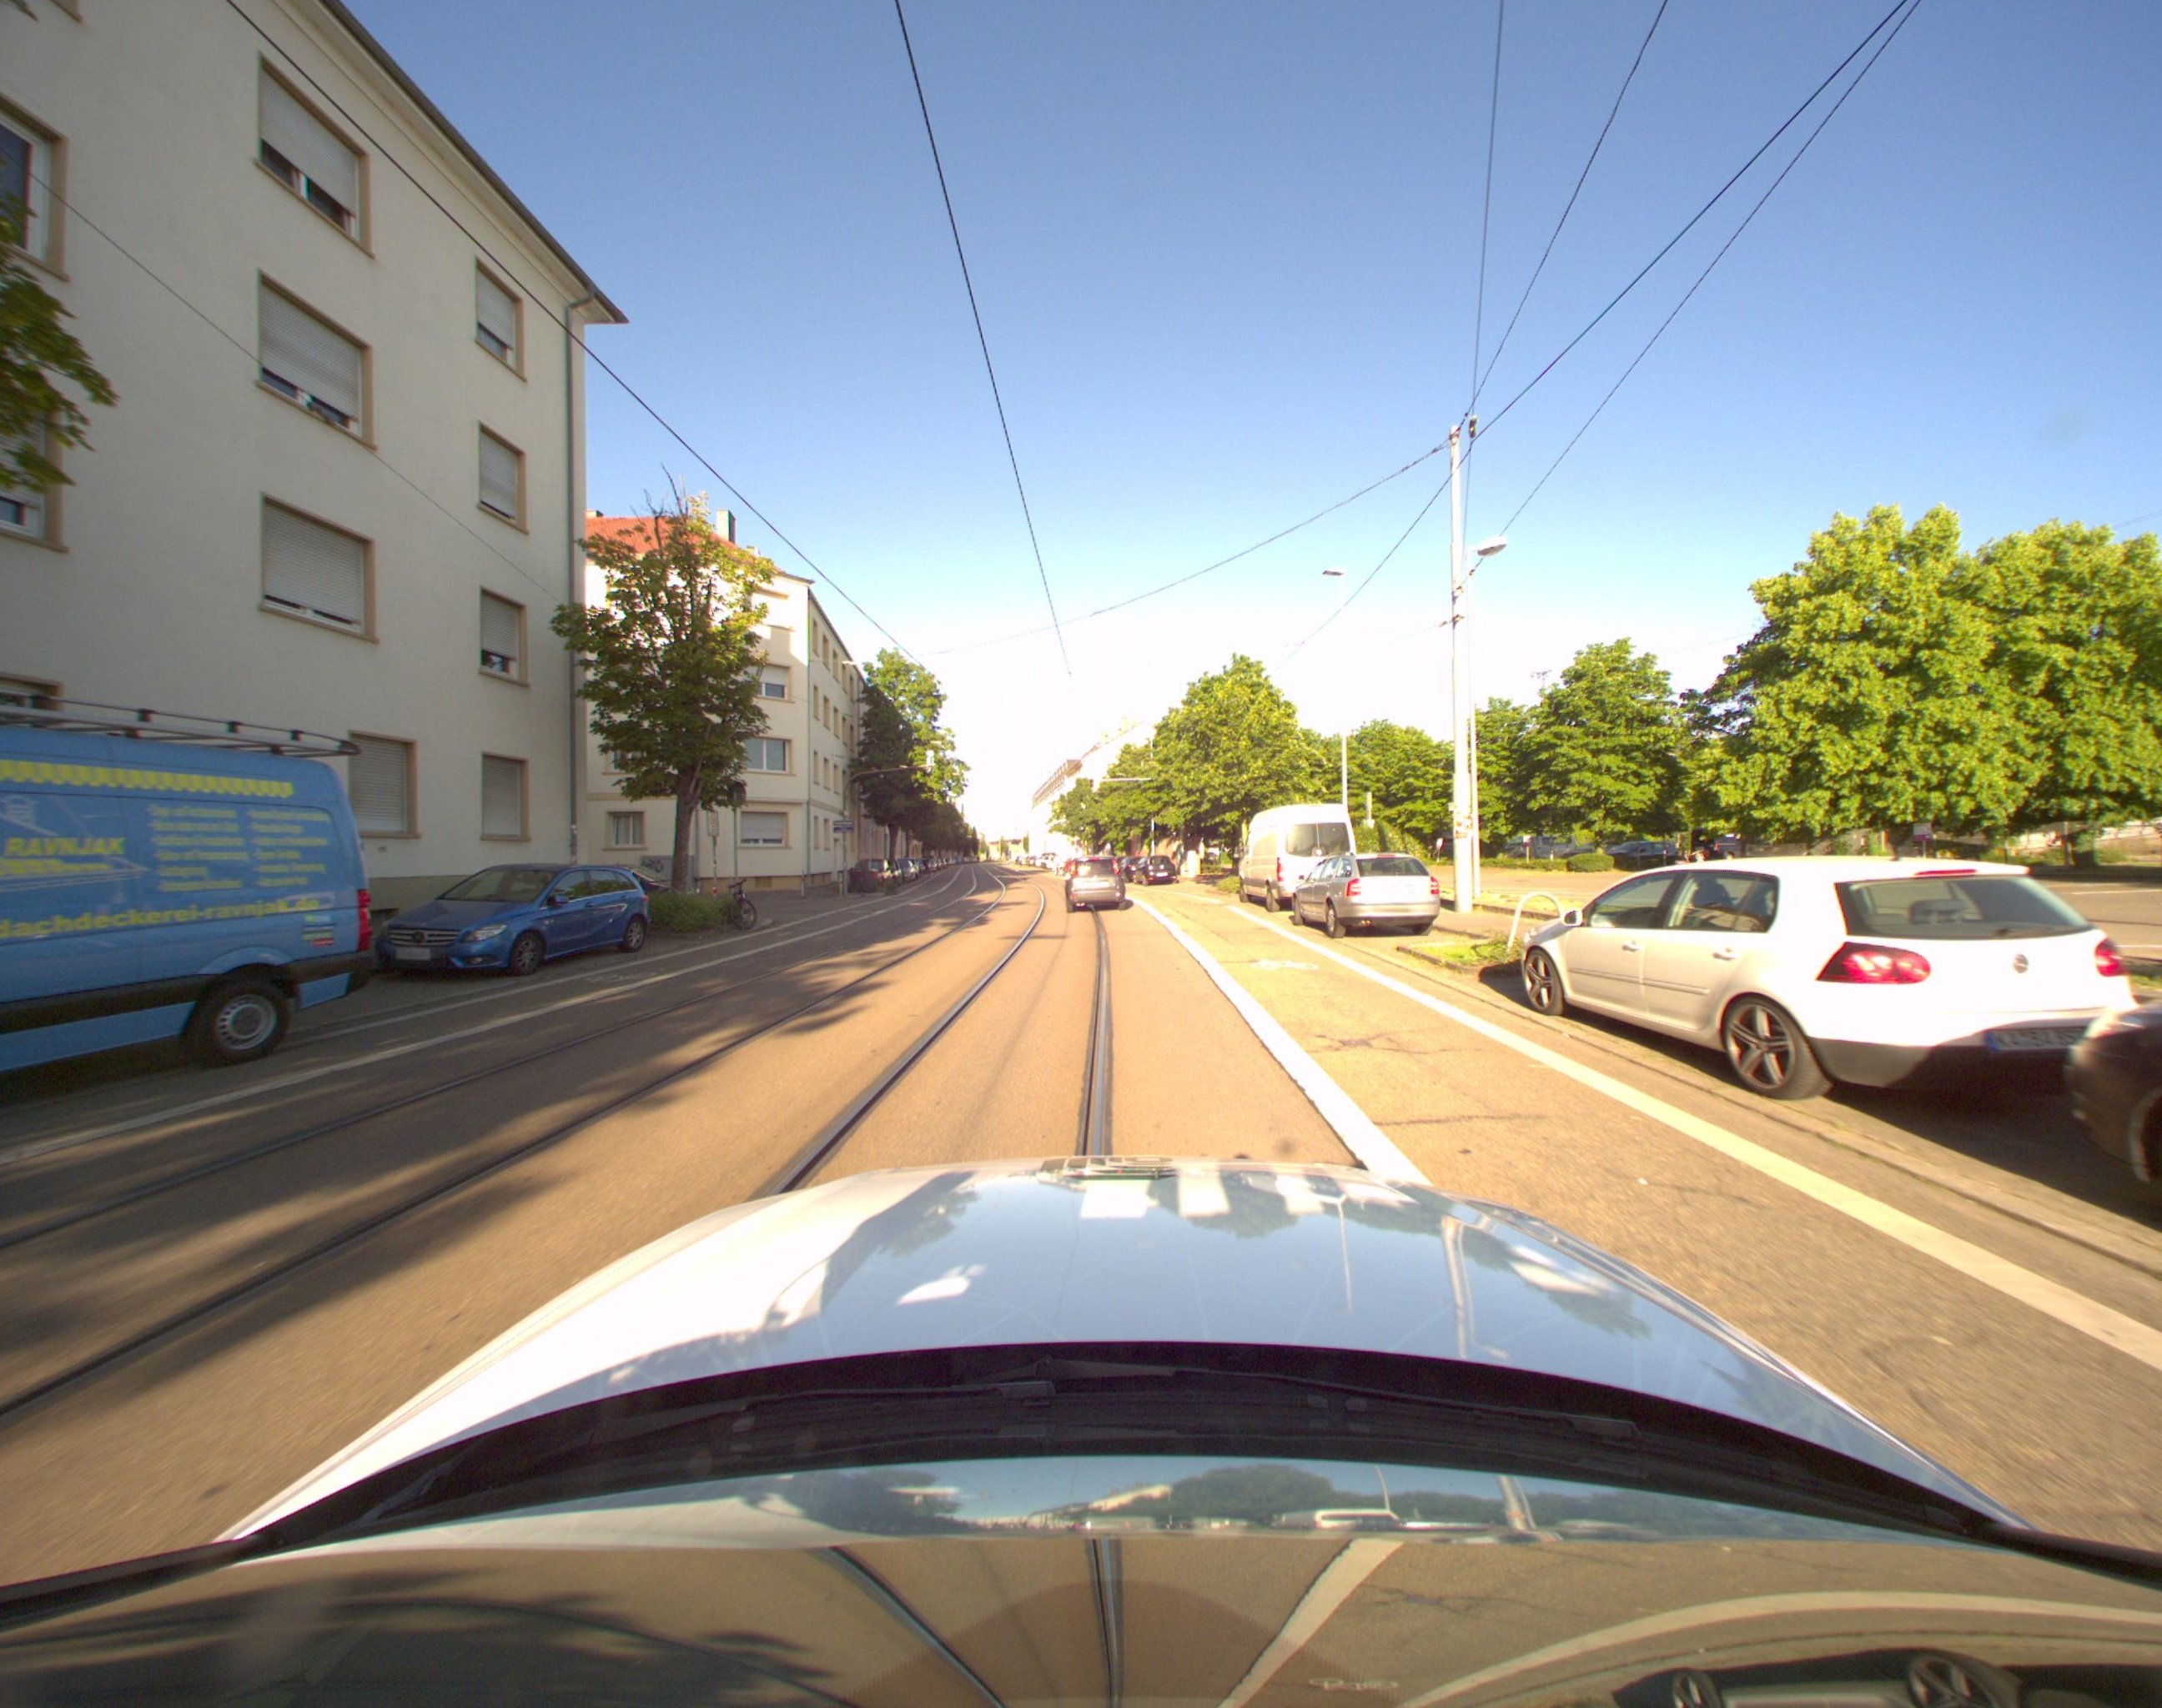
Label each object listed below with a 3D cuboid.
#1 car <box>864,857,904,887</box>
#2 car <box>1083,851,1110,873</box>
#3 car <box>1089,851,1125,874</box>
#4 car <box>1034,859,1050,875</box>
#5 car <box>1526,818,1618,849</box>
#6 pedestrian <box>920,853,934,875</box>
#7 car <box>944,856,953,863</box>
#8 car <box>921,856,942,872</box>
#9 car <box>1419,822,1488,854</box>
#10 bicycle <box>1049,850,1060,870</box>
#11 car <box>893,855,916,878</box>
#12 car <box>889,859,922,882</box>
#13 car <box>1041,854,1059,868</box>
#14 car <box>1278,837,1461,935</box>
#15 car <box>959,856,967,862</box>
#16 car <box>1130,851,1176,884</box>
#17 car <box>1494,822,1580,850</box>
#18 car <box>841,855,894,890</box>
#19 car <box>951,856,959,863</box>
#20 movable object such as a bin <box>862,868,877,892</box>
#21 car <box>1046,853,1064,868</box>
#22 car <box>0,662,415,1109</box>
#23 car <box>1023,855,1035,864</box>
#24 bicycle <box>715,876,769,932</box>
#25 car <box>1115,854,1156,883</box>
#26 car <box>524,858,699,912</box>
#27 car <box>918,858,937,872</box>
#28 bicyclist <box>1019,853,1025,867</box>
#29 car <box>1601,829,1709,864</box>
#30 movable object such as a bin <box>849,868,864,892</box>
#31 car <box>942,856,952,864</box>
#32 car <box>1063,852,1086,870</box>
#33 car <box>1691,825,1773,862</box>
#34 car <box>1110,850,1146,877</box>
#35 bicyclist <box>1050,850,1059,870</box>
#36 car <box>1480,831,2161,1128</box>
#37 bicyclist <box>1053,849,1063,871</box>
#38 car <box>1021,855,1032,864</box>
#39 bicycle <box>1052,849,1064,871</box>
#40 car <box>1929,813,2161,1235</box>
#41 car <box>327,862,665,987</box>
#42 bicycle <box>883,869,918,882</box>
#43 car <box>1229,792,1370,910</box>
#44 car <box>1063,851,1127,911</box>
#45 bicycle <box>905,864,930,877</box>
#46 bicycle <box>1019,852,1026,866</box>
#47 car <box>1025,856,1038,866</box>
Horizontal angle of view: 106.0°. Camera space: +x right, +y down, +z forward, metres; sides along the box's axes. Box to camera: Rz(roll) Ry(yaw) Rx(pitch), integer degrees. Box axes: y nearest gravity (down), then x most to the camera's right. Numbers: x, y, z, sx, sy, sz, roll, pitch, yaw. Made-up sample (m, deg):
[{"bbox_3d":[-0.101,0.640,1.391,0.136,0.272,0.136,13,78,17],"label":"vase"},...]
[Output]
[{"bbox_3d":[-10.343,0.912,42.933,1.787,1.530,3.844,0,0,-10],"label":"car"},{"bbox_3d":[1.186,0.613,63.826,1.686,1.530,3.993,-3,0,-5],"label":"car"},{"bbox_3d":[1.821,0.600,58.313,1.689,1.530,3.986,-2,0,-10],"label":"car"},{"bbox_3d":[-5.143,1.656,106.516,1.655,1.944,4.651,0,0,-8],"label":"car"},{"bbox_3d":[30.412,-1.238,50.486,4.677,1.816,1.957,0,0,-7],"label":"car"},{"bbox_3d":[-12.811,0.795,67.771,0.854,1.776,0.729,-2,1,-28],"label":"pedestrian"},{"bbox_3d":[-26.778,1.150,164.974,1.705,1.497,3.713,0,0,-7],"label":"car"},{"bbox_3d":[-14.424,0.905,78.518,1.807,1.508,4.179,0,0,-8],"label":"car"},{"bbox_3d":[28.030,-1.188,61.344,4.188,2.241,2.136,-2,0,-11],"label":"car"},{"bbox_3d":[-2.412,0.522,74.038,0.675,1.747,2.151,0,0,-9],"label":"bicycle"},{"bbox_3d":[-13.169,0.881,60.820,1.652,1.668,4.278,0,0,-12],"label":"car"},{"bbox_3d":[-11.830,1.095,55.136,1.687,1.475,4.649,0,0,-7],"label":"car"},{"bbox_3d":[-3.653,0.782,95.494,1.655,1.571,3.865,0,0,-8],"label":"car"},{"bbox_3d":[5.213,0.521,15.459,1.903,1.530,4.601,-2,0,1],"label":"car"},{"bbox_3d":[-28.143,1.257,194.563,1.705,1.497,3.713,0,0,-7],"label":"car"},{"bbox_3d":[3.634,0.666,41.665,1.686,1.530,3.993,-3,0,-5],"label":"car"},{"bbox_3d":[29.741,-1.149,53.185,4.677,1.816,1.957,0,0,-7],"label":"car"},{"bbox_3d":[-9.866,0.808,37.859,1.685,1.530,3.994,0,0,-4],"label":"car"},{"bbox_3d":[-27.666,1.160,178.856,1.705,1.497,3.713,0,0,-7],"label":"car"},{"bbox_3d":[-8.803,1.063,33.950,0.484,0.987,0.658,0,0,-6],"label":"movable object such as a bin"},{"bbox_3d":[-2.895,0.720,91.171,1.655,1.571,3.489,0,0,-8],"label":"car"},{"bbox_3d":[-7.841,0.201,5.162,2.009,2.826,6.037,0,0,3],"label":"car"},{"bbox_3d":[-8.517,0.919,133.050,1.582,1.405,3.366,0,0,-9],"label":"car"},{"bbox_3d":[-7.577,1.098,18.283,0.511,1.134,2.028,0,0,-5],"label":"bicycle"},{"bbox_3d":[3.063,0.785,46.426,1.686,1.530,4.348,-3,0,-5],"label":"car"},{"bbox_3d":[-13.184,0.859,23.060,3.876,1.458,1.767,0,0,-2],"label":"car"},{"bbox_3d":[-16.550,1.161,87.955,1.807,1.508,4.668,0,0,-8],"label":"car"},{"bbox_3d":[-8.568,0.902,118.341,0.715,2.014,0.829,0,0,-9],"label":"bicyclist"},{"bbox_3d":[31.004,-0.398,44.067,4.677,1.816,1.957,0,0,-7],"label":"car"},{"bbox_3d":[-9.318,1.073,33.849,0.484,0.987,0.658,0,0,-6],"label":"movable object such as a bin"},{"bbox_3d":[-24.820,1.095,150.547,1.705,1.497,3.713,0,0,-7],"label":"car"},{"bbox_3d":[-0.598,0.604,72.972,1.634,1.508,3.388,-3,0,-8],"label":"car"},{"bbox_3d":[43.726,-0.697,54.709,4.188,2.301,2.064,-2,0,-11],"label":"car"},{"bbox_3d":[2.958,0.578,51.673,1.686,1.530,3.993,-3,0,-5],"label":"car"},{"bbox_3d":[-2.410,0.543,74.013,0.699,1.759,0.755,0,0,-9],"label":"bicyclist"},{"bbox_3d":[4.996,0.643,6.299,1.722,1.512,4.250,0,0,-1],"label":"car"},{"bbox_3d":[-1.847,0.478,65.050,0.699,1.759,0.755,0,0,-9],"label":"bicyclist"},{"bbox_3d":[-9.380,0.940,139.423,1.582,1.599,3.366,0,0,-9],"label":"car"},{"bbox_3d":[-1.864,0.486,65.185,0.675,1.747,2.151,0,0,-9],"label":"bicycle"},{"bbox_3d":[4.924,0.613,1.743,1.721,1.604,4.344,-3,0,2],"label":"car"},{"bbox_3d":[-8.643,0.914,12.694,1.784,1.561,4.644,0,0,2],"label":"car"},{"bbox_3d":[-11.405,1.366,51.583,2.126,0.824,0.476,0,0,-9],"label":"bicycle"},{"bbox_3d":[5.693,-0.071,22.204,2.172,2.665,6.091,-3,0,1],"label":"car"},{"bbox_3d":[0.451,0.702,23.324,1.644,1.541,4.236,-1,0,2],"label":"car"},{"bbox_3d":[-12.978,1.318,64.650,1.923,1.046,0.475,0,0,-7],"label":"bicycle"},{"bbox_3d":[-8.538,0.746,118.285,0.741,2.014,2.803,0,0,-9],"label":"bicycle"},{"bbox_3d":[-7.343,1.007,121.086,1.582,1.405,3.366,-4,0,-9],"label":"car"}]
